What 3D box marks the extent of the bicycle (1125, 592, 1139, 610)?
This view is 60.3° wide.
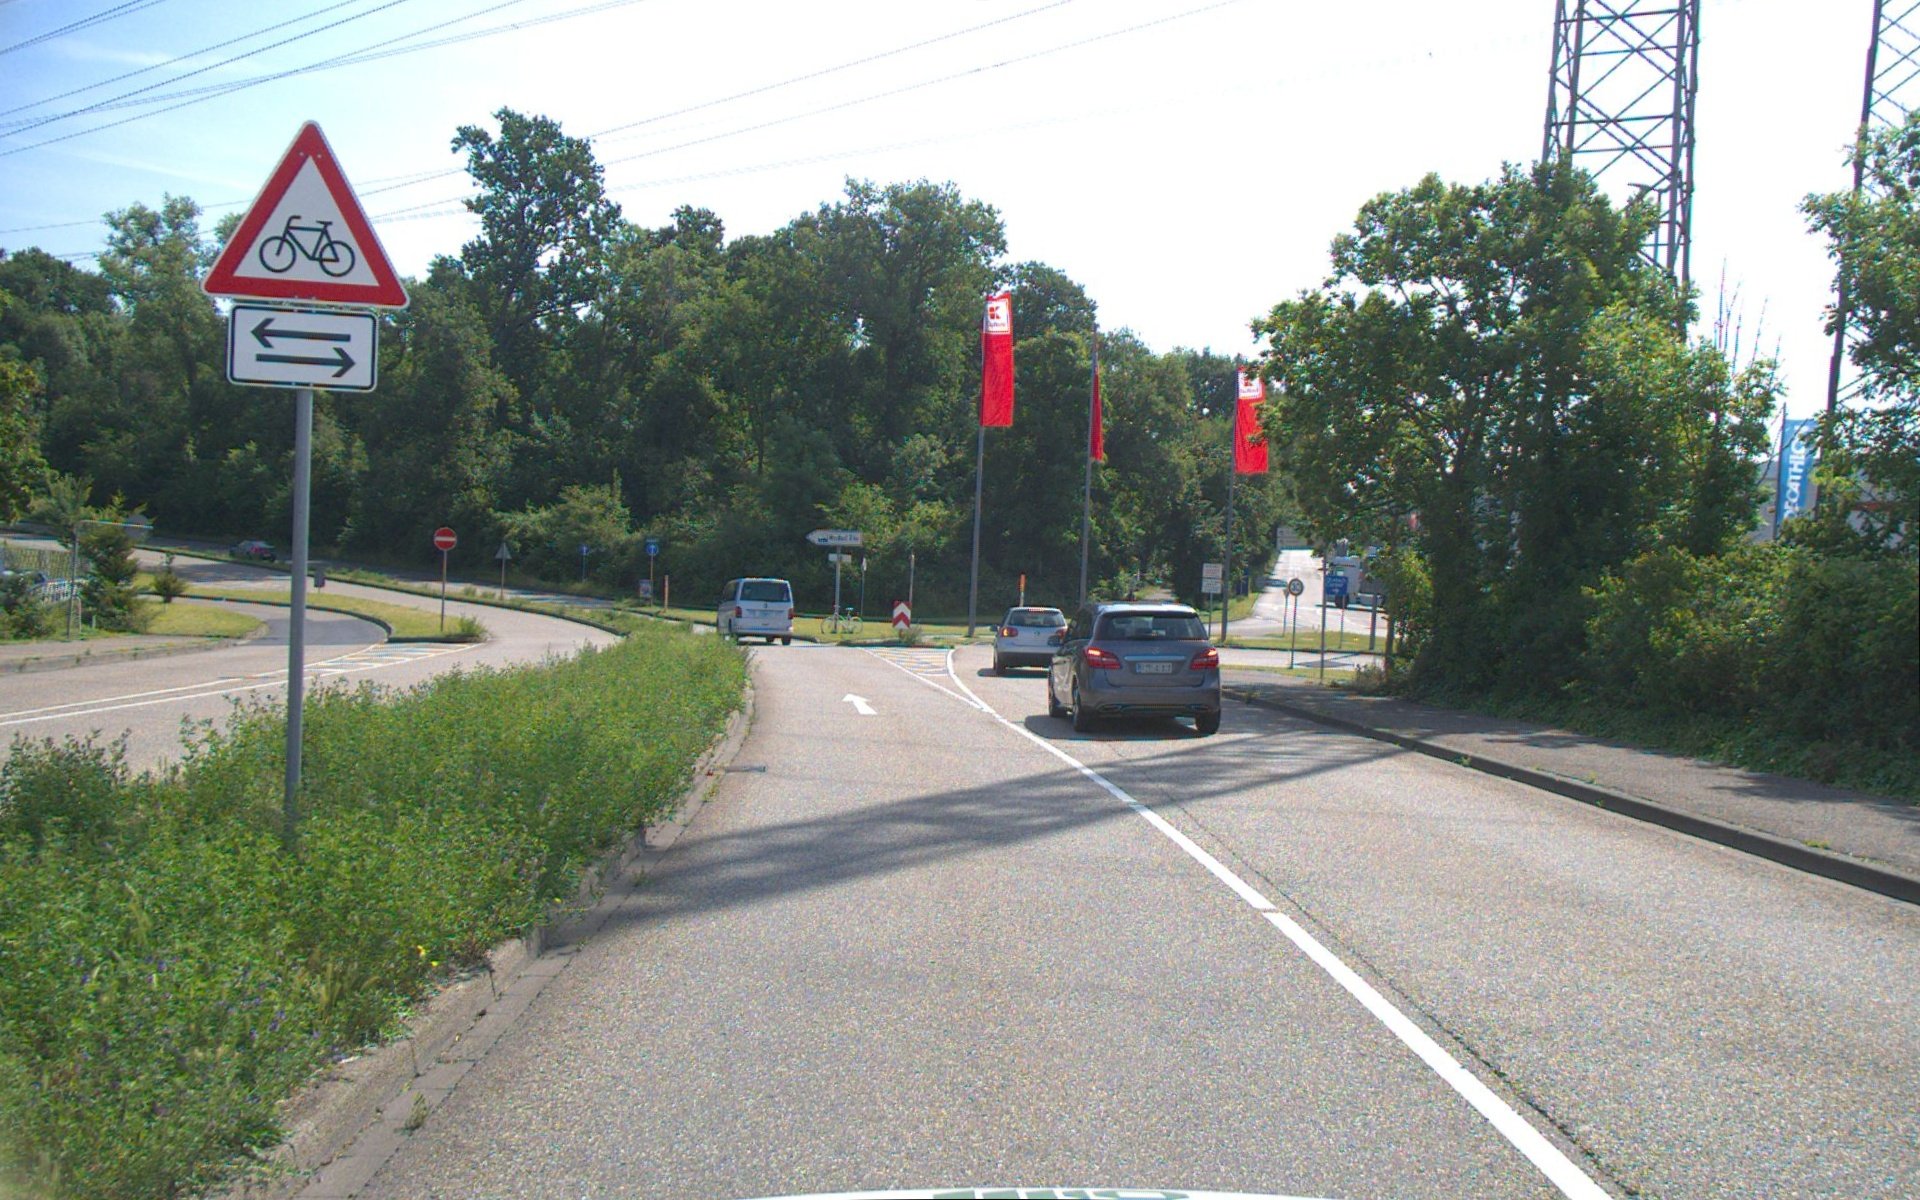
[{"bbox_3d":[11.251,0.047,108.271,0.708,0.994,2.189,3,4,9],"label":"bicycle"}]

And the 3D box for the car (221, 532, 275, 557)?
[{"bbox_3d":[-49.535,-3.874,115.038,3.579,1.593,1.649,4,3,31],"label":"car"}]

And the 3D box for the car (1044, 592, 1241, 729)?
[{"bbox_3d":[2.194,0.715,20.967,1.819,1.556,4.141,0,-1,-3],"label":"car"}]

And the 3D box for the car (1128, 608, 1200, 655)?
[{"bbox_3d":[7.065,1.049,57.111,1.737,1.354,3.743,4,2,18],"label":"car"}]

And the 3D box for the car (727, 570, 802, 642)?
[{"bbox_3d":[-5.927,0.162,50.634,1.999,2.049,3.997,2,0,-3],"label":"car"}]

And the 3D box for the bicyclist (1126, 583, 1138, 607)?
[{"bbox_3d":[11.266,-0.329,108.274,0.661,1.560,0.847,2,3,9],"label":"bicyclist"}]

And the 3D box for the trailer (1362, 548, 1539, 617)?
[{"bbox_3d":[37.238,-1.430,125.648,12.418,4.492,3.757,3,3,22],"label":"trailer"}]

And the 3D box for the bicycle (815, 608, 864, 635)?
[{"bbox_3d":[-4.218,0.754,58.050,1.764,0.904,0.269,1,1,-29],"label":"bicycle"}]

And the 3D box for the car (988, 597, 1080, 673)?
[{"bbox_3d":[1.608,0.739,37.219,1.818,1.556,4.143,2,0,0],"label":"car"}]

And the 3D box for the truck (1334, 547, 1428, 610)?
[{"bbox_3d":[32.492,-1.719,127.614,6.413,4.492,3.757,3,3,22],"label":"truck"}]
